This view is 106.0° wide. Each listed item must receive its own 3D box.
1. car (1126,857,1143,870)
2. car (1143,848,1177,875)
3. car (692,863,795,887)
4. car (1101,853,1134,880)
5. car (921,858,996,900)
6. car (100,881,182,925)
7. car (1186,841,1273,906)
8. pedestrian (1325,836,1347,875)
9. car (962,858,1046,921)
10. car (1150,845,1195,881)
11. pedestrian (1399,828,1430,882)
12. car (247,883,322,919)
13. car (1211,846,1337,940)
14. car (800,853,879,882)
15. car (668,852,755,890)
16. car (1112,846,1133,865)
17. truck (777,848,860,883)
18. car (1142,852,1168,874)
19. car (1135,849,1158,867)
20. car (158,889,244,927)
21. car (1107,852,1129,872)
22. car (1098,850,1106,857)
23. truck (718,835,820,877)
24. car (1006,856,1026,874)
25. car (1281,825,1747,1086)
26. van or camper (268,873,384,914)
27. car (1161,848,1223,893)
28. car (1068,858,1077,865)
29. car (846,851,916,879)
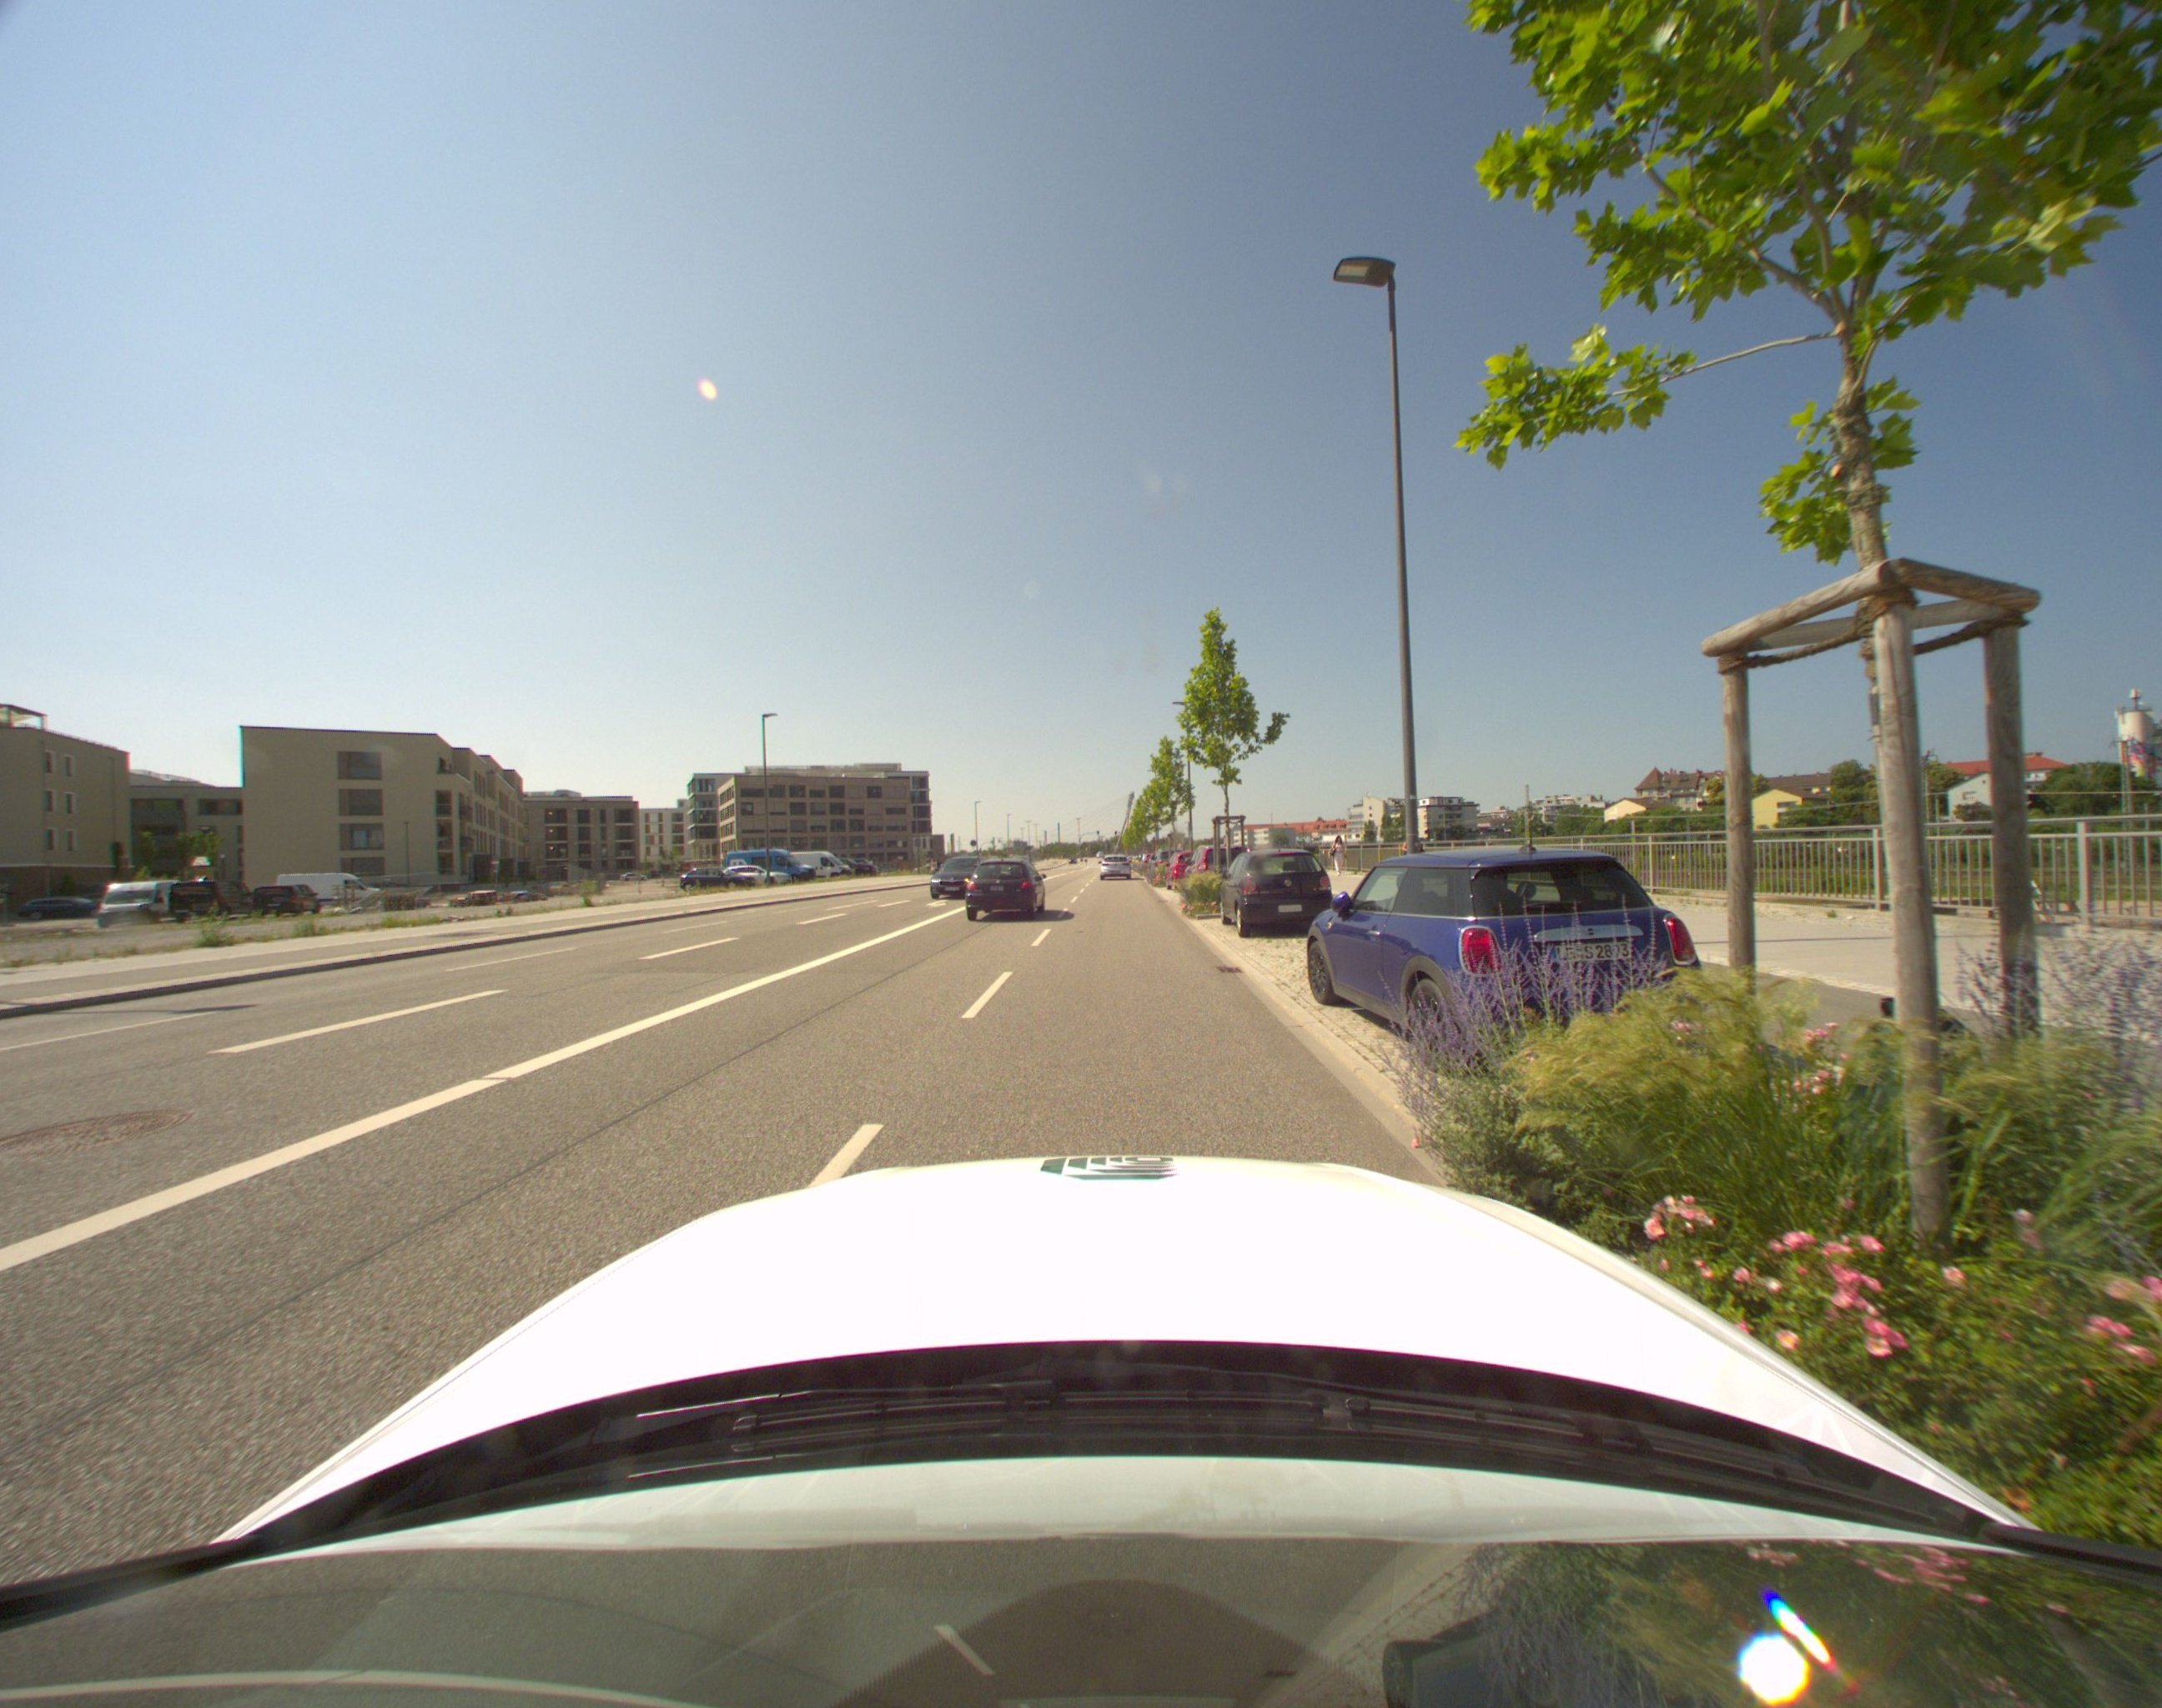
[{"bbox_3d":[5.614,1.019,86.212,1.626,1.310,4.001,0,0,1],"label":"car"},{"bbox_3d":[4.713,0.429,49.032,1.627,1.429,4.242,-4,0,1],"label":"car"},{"bbox_3d":[-21.304,1.323,51.583,5.633,1.474,2.106,0,0,-1],"label":"car"},{"bbox_3d":[2.179,0.705,47.806,1.770,1.442,4.004,-2,0,4],"label":"car"},{"bbox_3d":[-4.440,0.854,30.145,1.779,1.398,4.576,-1,0,4],"label":"car"},{"bbox_3d":[-53.562,2.745,46.481,2.008,2.240,3.959,-1,0,-33],"label":"car"},{"bbox_3d":[4.164,0.488,23.506,1.900,1.616,4.552,-2,0,3],"label":"car"},{"bbox_3d":[11.195,0.073,35.781,0.777,1.705,0.742,0,0,3],"label":"pedestrian"},{"bbox_3d":[-1.835,0.812,20.389,1.613,1.416,3.729,0,0,2],"label":"car"},{"bbox_3d":[4.465,0.427,40.375,1.728,1.608,4.242,-3,0,1],"label":"car"},{"bbox_3d":[10.648,0.036,26.001,0.729,1.705,0.651,0,-2,3],"label":"pedestrian"},{"bbox_3d":[-46.735,2.722,47.876,2.004,1.849,3.965,-1,0,-27],"label":"car"},{"bbox_3d":[3.454,0.615,15.195,1.613,1.479,3.827,-2,0,3],"label":"car"},{"bbox_3d":[-20.503,1.098,69.265,5.864,2.165,2.395,-2,1,-1],"label":"car"},{"bbox_3d":[-20.385,0.929,45.023,3.963,1.904,1.832,-2,0,9],"label":"car"},{"bbox_3d":[3.730,0.170,73.309,1.770,1.569,4.004,-1,-1,4],"label":"car"},{"bbox_3d":[-20.272,0.880,62.988,5.548,2.362,2.275,-2,0,0],"label":"truck"},{"bbox_3d":[5.406,0.644,60.198,1.711,1.451,4.002,0,1,2],"label":"car"},{"bbox_3d":[5.918,0.354,73.178,1.899,1.577,4.164,-2,0,5],"label":"car"},{"bbox_3d":[-49.630,2.987,46.049,2.004,1.849,3.965,-1,0,-27],"label":"car"},{"bbox_3d":[3.457,0.727,75.159,1.784,1.750,4.006,0,0,5],"label":"car"},{"bbox_3d":[5.454,-0.090,210.614,1.850,1.649,3.996,0,0,-3],"label":"car"},{"bbox_3d":[-21.289,0.157,55.750,5.989,2.543,2.273,-2,0,-2],"label":"truck"},{"bbox_3d":[-5.741,1.019,72.402,1.575,1.563,3.671,0,-1,-2],"label":"car"},{"bbox_3d":[3.070,0.588,6.911,1.900,1.479,4.162,-3,0,3],"label":"car"},{"bbox_3d":[-55.089,2.849,59.638,5.956,2.559,1.914,-2,0,-36],"label":"van or camper"},{"bbox_3d":[4.078,0.583,30.538,1.600,1.491,3.815,-3,0,-2],"label":"car"},{"bbox_3d":[-1.720,1.511,166.725,1.697,1.352,4.458,-3,-1,2],"label":"car"},{"bbox_3d":[-17.465,0.964,71.308,5.428,2.173,2.394,-2,0,-2],"label":"car"}]
